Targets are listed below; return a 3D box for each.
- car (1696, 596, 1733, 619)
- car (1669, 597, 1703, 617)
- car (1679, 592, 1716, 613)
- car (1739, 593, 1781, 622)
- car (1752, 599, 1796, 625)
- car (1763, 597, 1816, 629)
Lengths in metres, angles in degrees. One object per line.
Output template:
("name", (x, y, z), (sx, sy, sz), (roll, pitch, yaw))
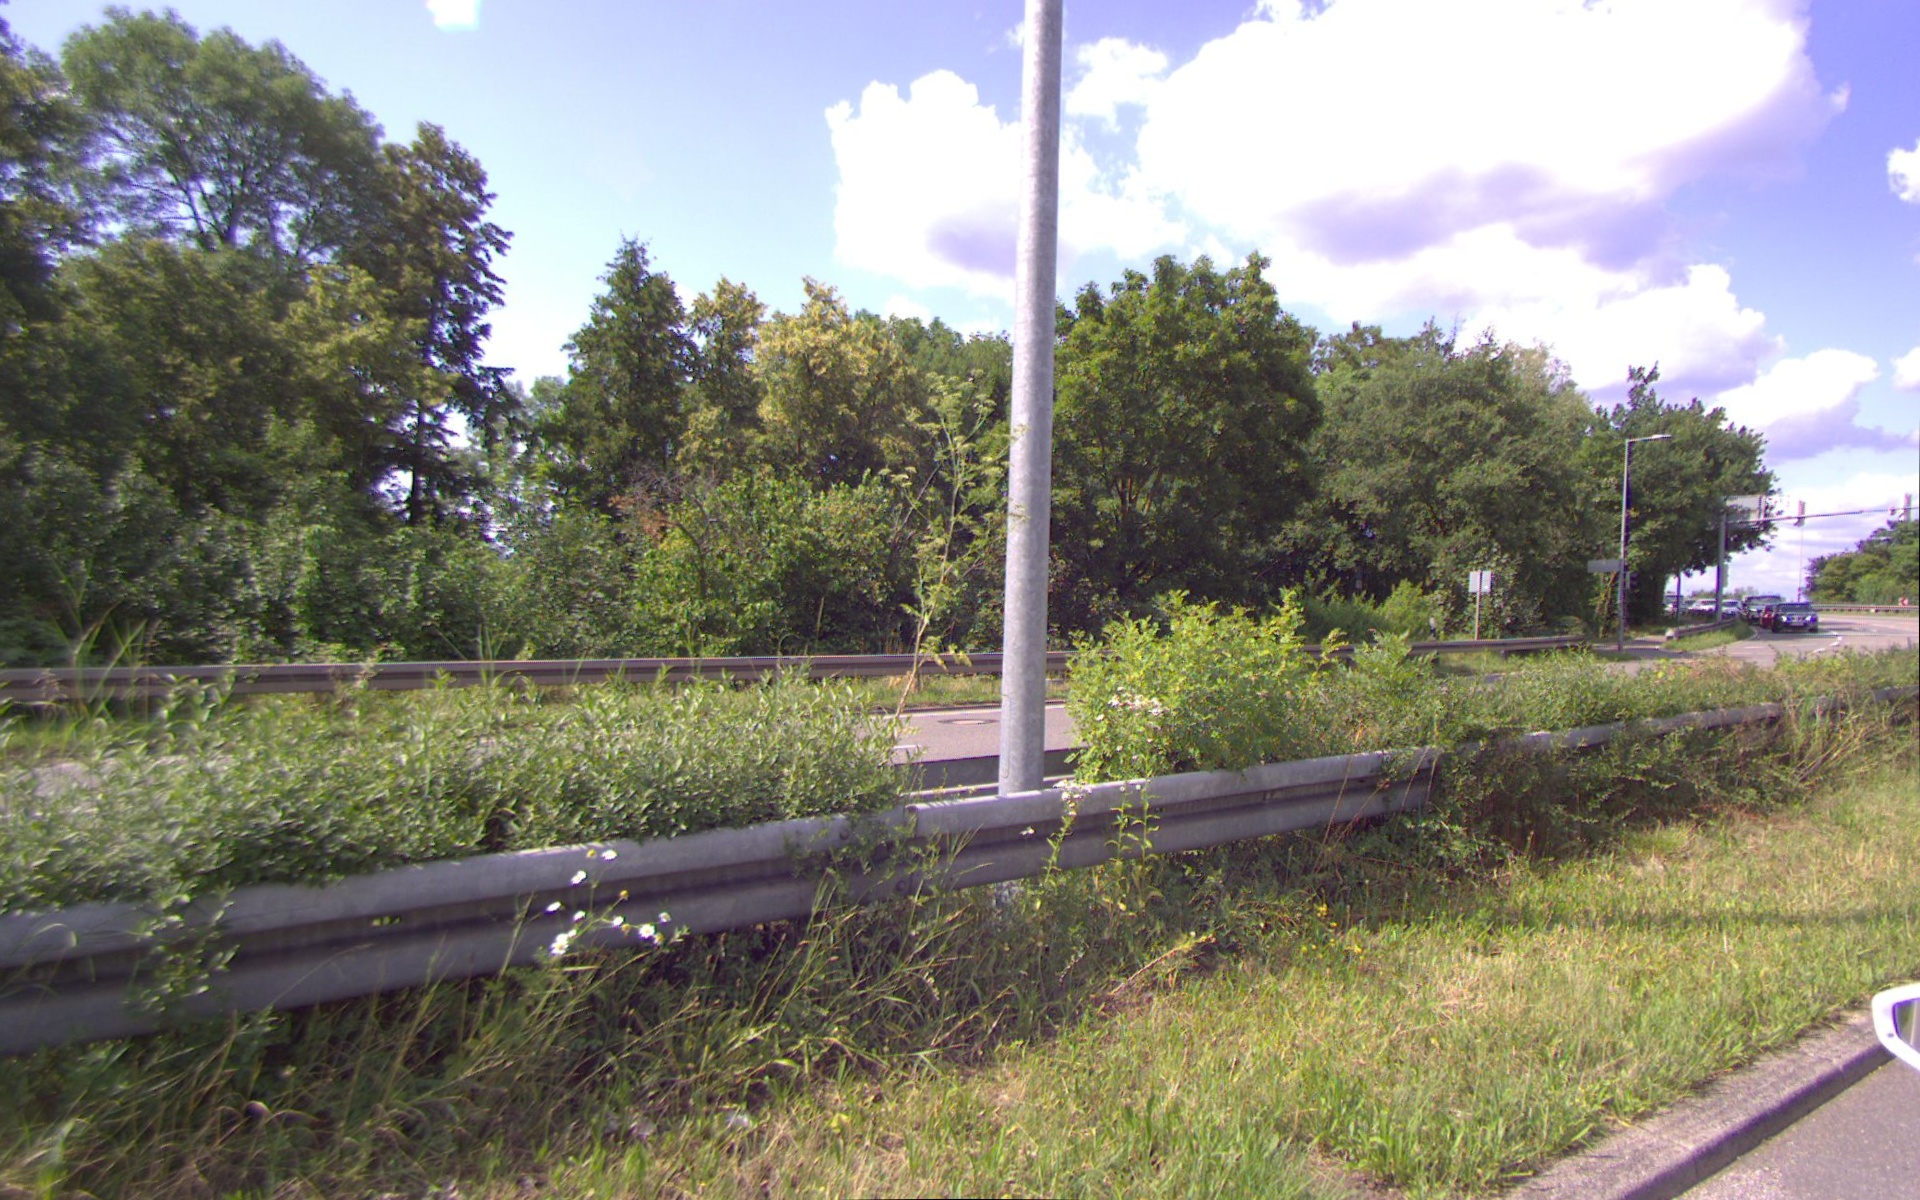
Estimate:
("car", (59.569, 0.581, 79.375), (1.816, 1.728, 4.318), (1, 0, 30))
("car", (66.061, 0.629, 91.443), (1.815, 1.728, 4.320), (1, 0, 27))
("car", (63.040, 0.191, 85.869), (1.815, 1.728, 4.321), (1, 0, 27))
("car", (52.057, 0.467, 65.433), (1.818, 1.826, 4.313), (1, 0, 34))
("car", (48.406, 0.696, 59.799), (1.708, 1.496, 4.034), (1, 0, 34))
("car", (43.803, 0.720, 53.136), (1.814, 1.639, 3.988), (0, -1, 35))
